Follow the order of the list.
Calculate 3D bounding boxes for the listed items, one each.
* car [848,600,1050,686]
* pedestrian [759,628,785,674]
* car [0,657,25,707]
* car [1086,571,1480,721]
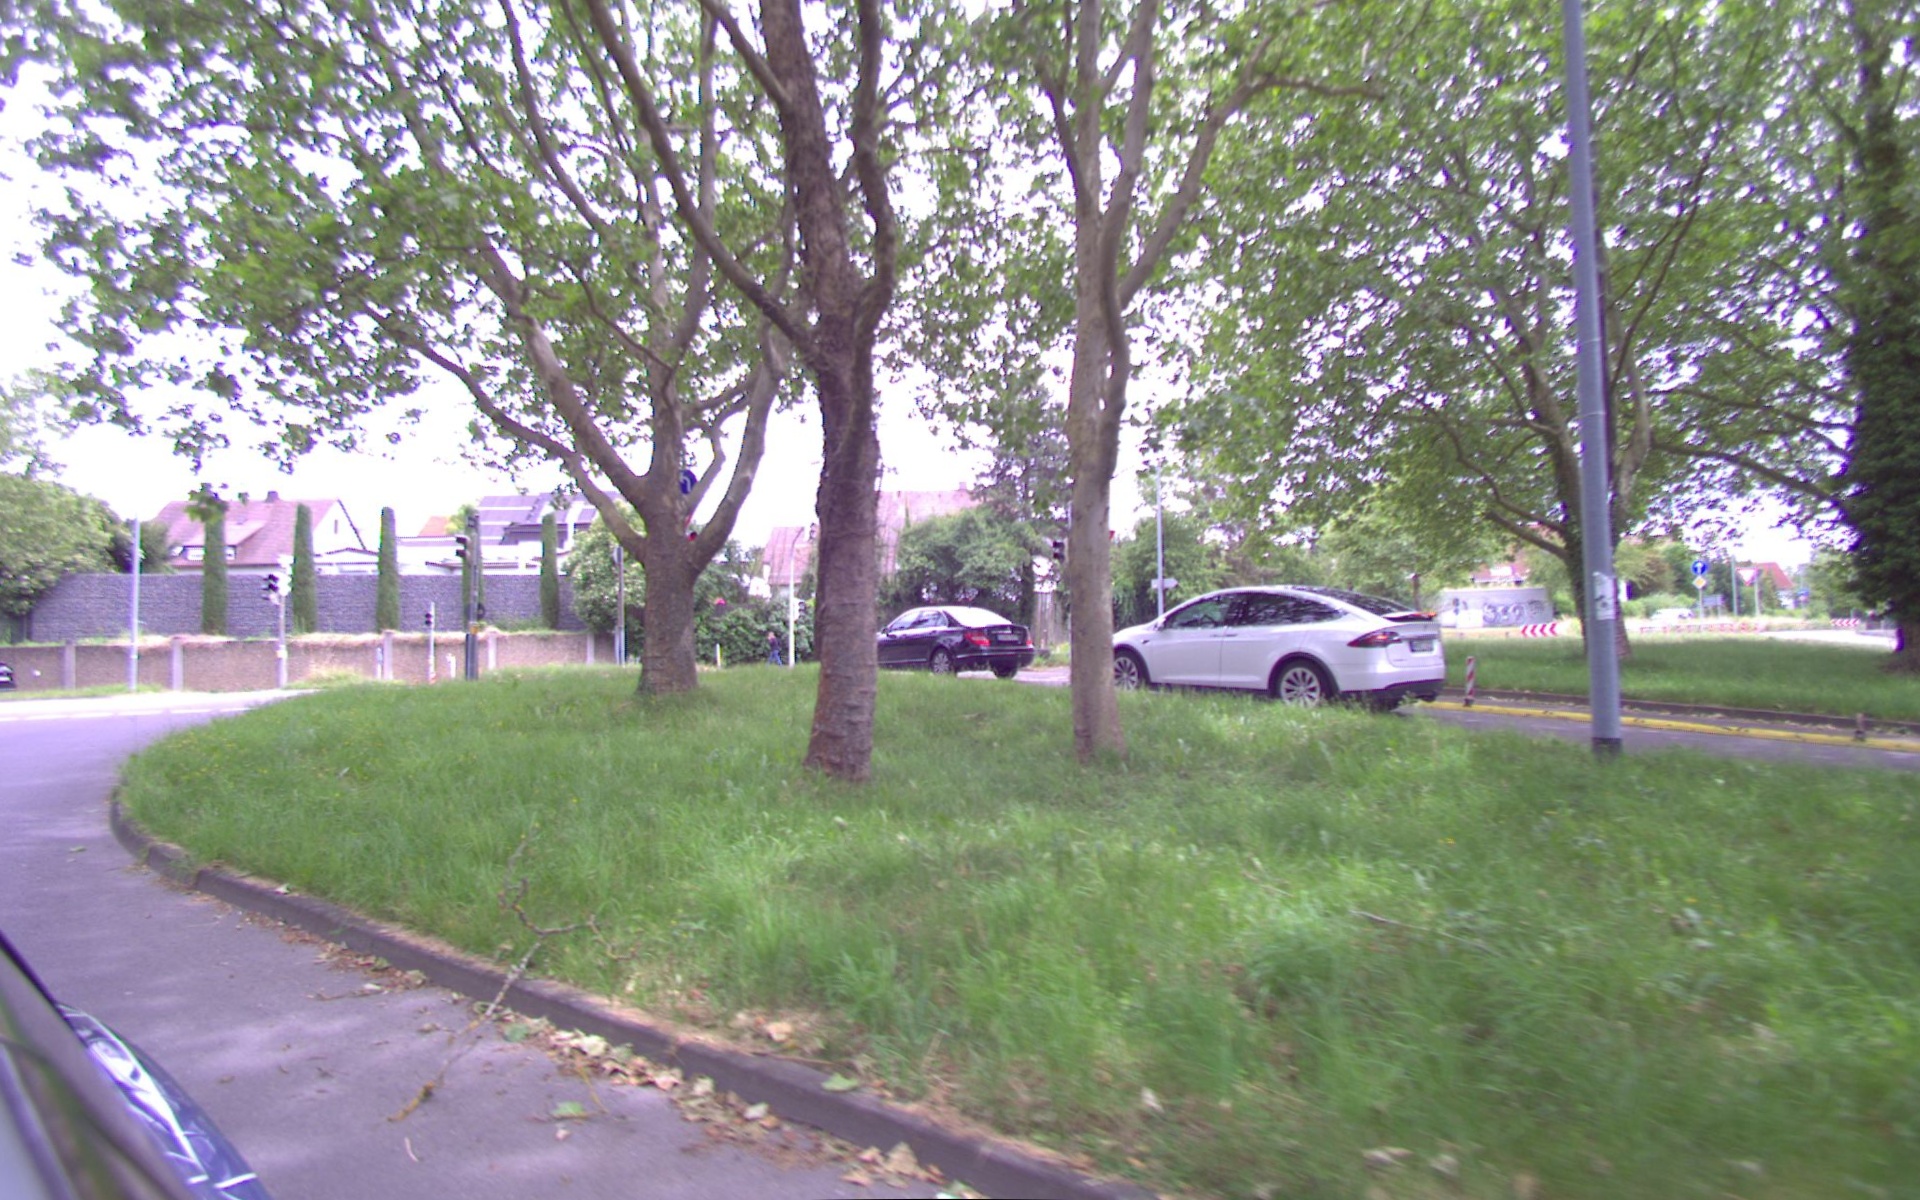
[{"bbox_3d":[-0.335,0.806,20.138,1.734,1.529,4.396,1,-1,-38],"label":"car"},{"bbox_3d":[-8.511,2.297,45.803,0.840,2.029,0.955,0,-3,-28],"label":"pedestrian"},{"bbox_3d":[-34.095,2.795,33.422,4.392,1.644,1.850,-2,-4,-12],"label":"car"},{"bbox_3d":[4.137,0.665,13.845,1.827,1.671,4.916,1,-4,-38],"label":"car"}]
